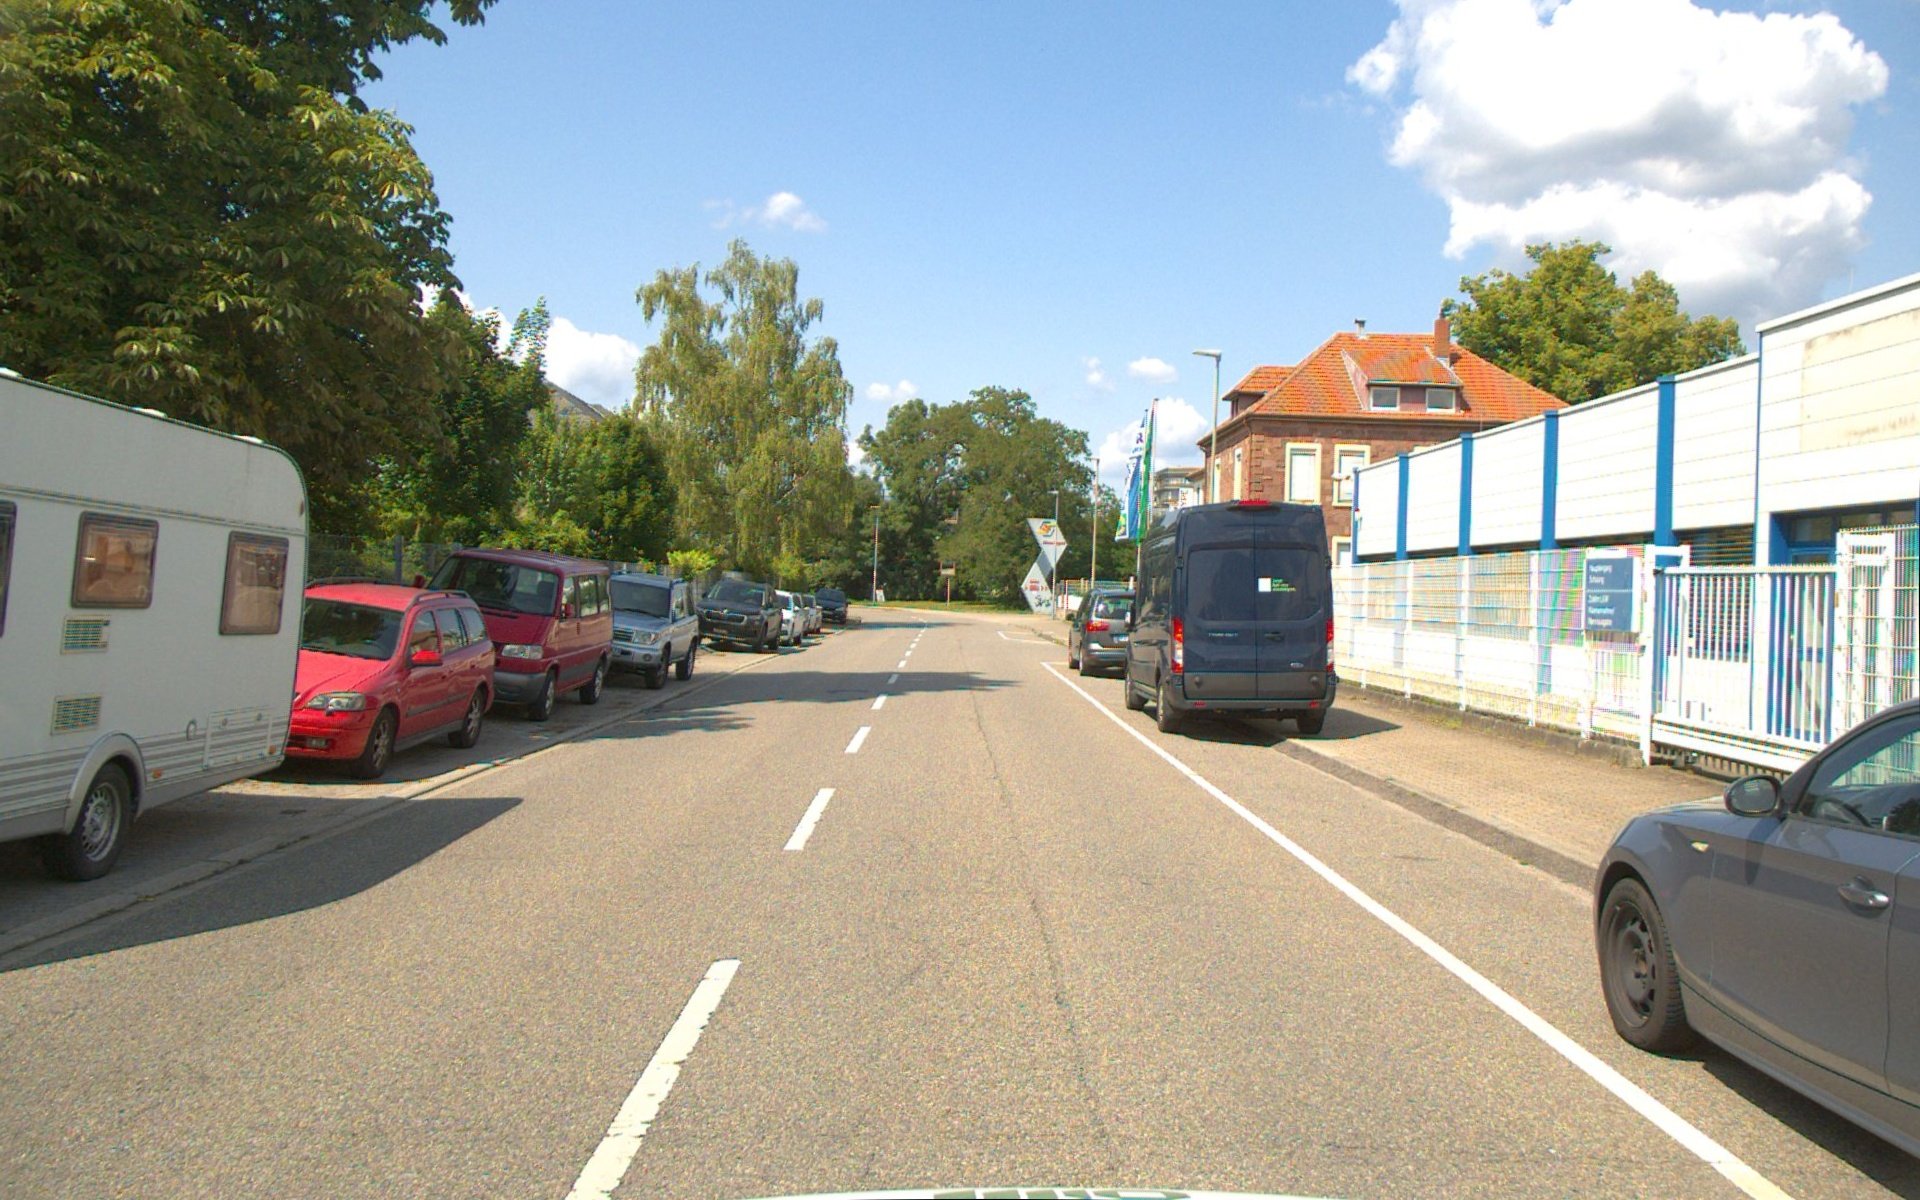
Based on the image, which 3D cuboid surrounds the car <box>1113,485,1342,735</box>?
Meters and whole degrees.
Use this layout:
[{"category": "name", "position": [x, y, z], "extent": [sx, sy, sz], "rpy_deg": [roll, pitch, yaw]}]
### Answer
[{"category": "car", "position": [3.326, 0.099, 21.851], "extent": [1.898, 2.796, 6.153], "rpy_deg": [1, 0, -1]}]

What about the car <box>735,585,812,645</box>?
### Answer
[{"category": "car", "position": [-5.413, 0.393, 48.537], "extent": [1.665, 1.623, 4.787], "rpy_deg": [1, 0, 0]}]

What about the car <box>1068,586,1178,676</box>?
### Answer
[{"category": "car", "position": [3.283, 0.577, 34.020], "extent": [1.787, 1.693, 4.556], "rpy_deg": [1, 0, 0]}]

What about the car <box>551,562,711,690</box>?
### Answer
[{"category": "car", "position": [-5.387, 0.383, 27.538], "extent": [1.665, 1.833, 3.827], "rpy_deg": [5, 1, 1]}]

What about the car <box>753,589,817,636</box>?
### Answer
[{"category": "car", "position": [-6.089, 0.400, 57.870], "extent": [1.758, 1.554, 4.659], "rpy_deg": [1, 0, -1]}]

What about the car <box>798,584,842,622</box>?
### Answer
[{"category": "car", "position": [-6.480, 0.142, 76.856], "extent": [1.649, 1.538, 4.156], "rpy_deg": [5, 0, -2]}]

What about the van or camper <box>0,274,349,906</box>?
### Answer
[{"category": "van or camper", "position": [-5.453, -0.110, 8.317], "extent": [2.218, 2.852, 6.831], "rpy_deg": [5, 0, -2]}]

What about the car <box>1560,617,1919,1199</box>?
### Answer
[{"category": "car", "position": [3.242, 0.865, 4.614], "extent": [1.540, 1.534, 4.132], "rpy_deg": [1, 0, -1]}]

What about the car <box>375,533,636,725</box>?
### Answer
[{"category": "car", "position": [-5.687, 0.324, 21.419], "extent": [1.861, 1.987, 4.957], "rpy_deg": [7, 0, -1]}]

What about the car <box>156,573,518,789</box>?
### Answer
[{"category": "car", "position": [-5.434, 0.619, 15.041], "extent": [1.592, 1.559, 4.268], "rpy_deg": [5, 0, -1]}]

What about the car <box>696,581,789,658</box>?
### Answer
[{"category": "car", "position": [-5.460, 0.443, 41.964], "extent": [1.577, 1.775, 4.637], "rpy_deg": [3, 1, 1]}]
